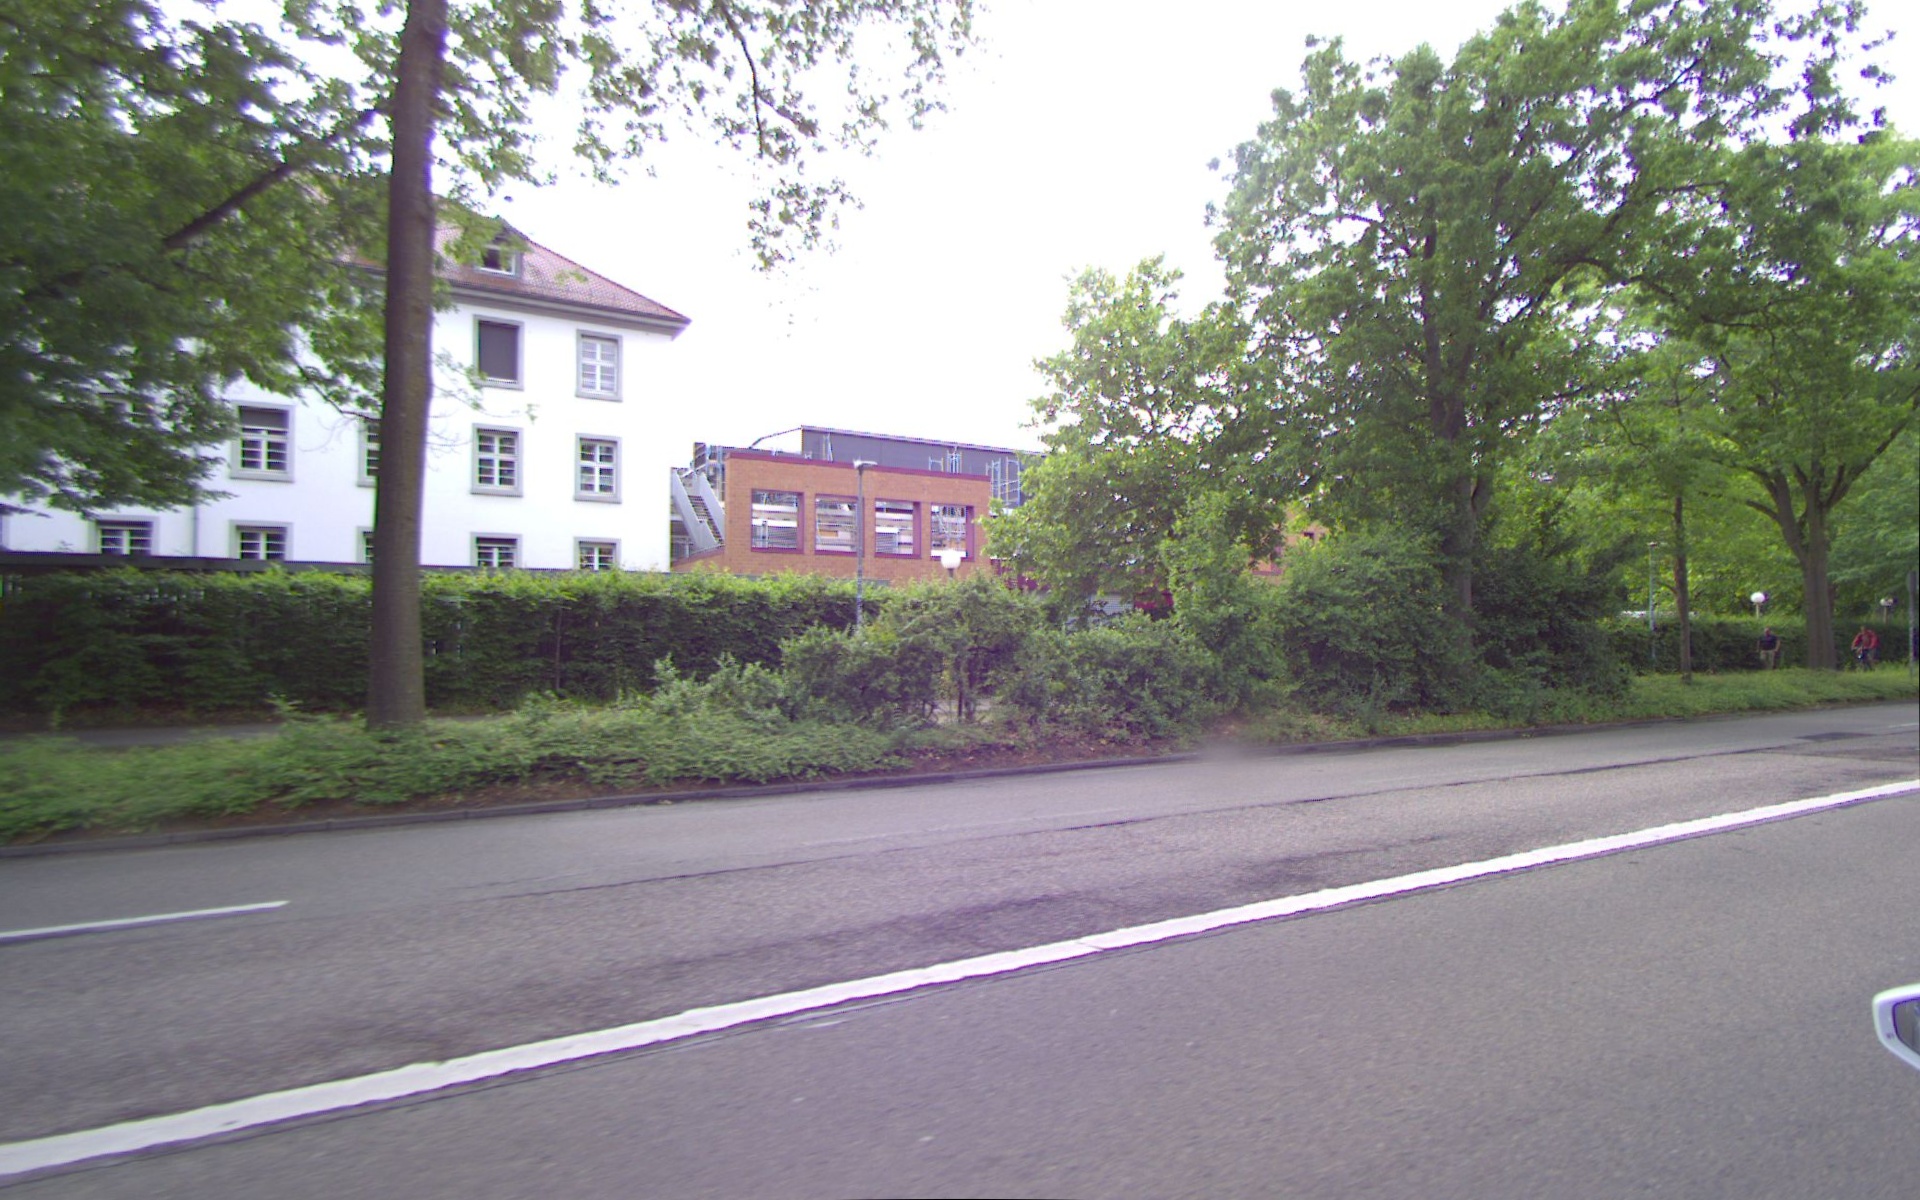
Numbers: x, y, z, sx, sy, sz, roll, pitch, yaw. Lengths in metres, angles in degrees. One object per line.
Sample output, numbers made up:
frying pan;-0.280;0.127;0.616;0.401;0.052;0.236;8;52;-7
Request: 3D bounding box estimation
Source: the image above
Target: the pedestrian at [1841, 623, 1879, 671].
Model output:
pedestrian;31.497;1.629;35.151;0.838;1.635;0.788;1;0;-30
